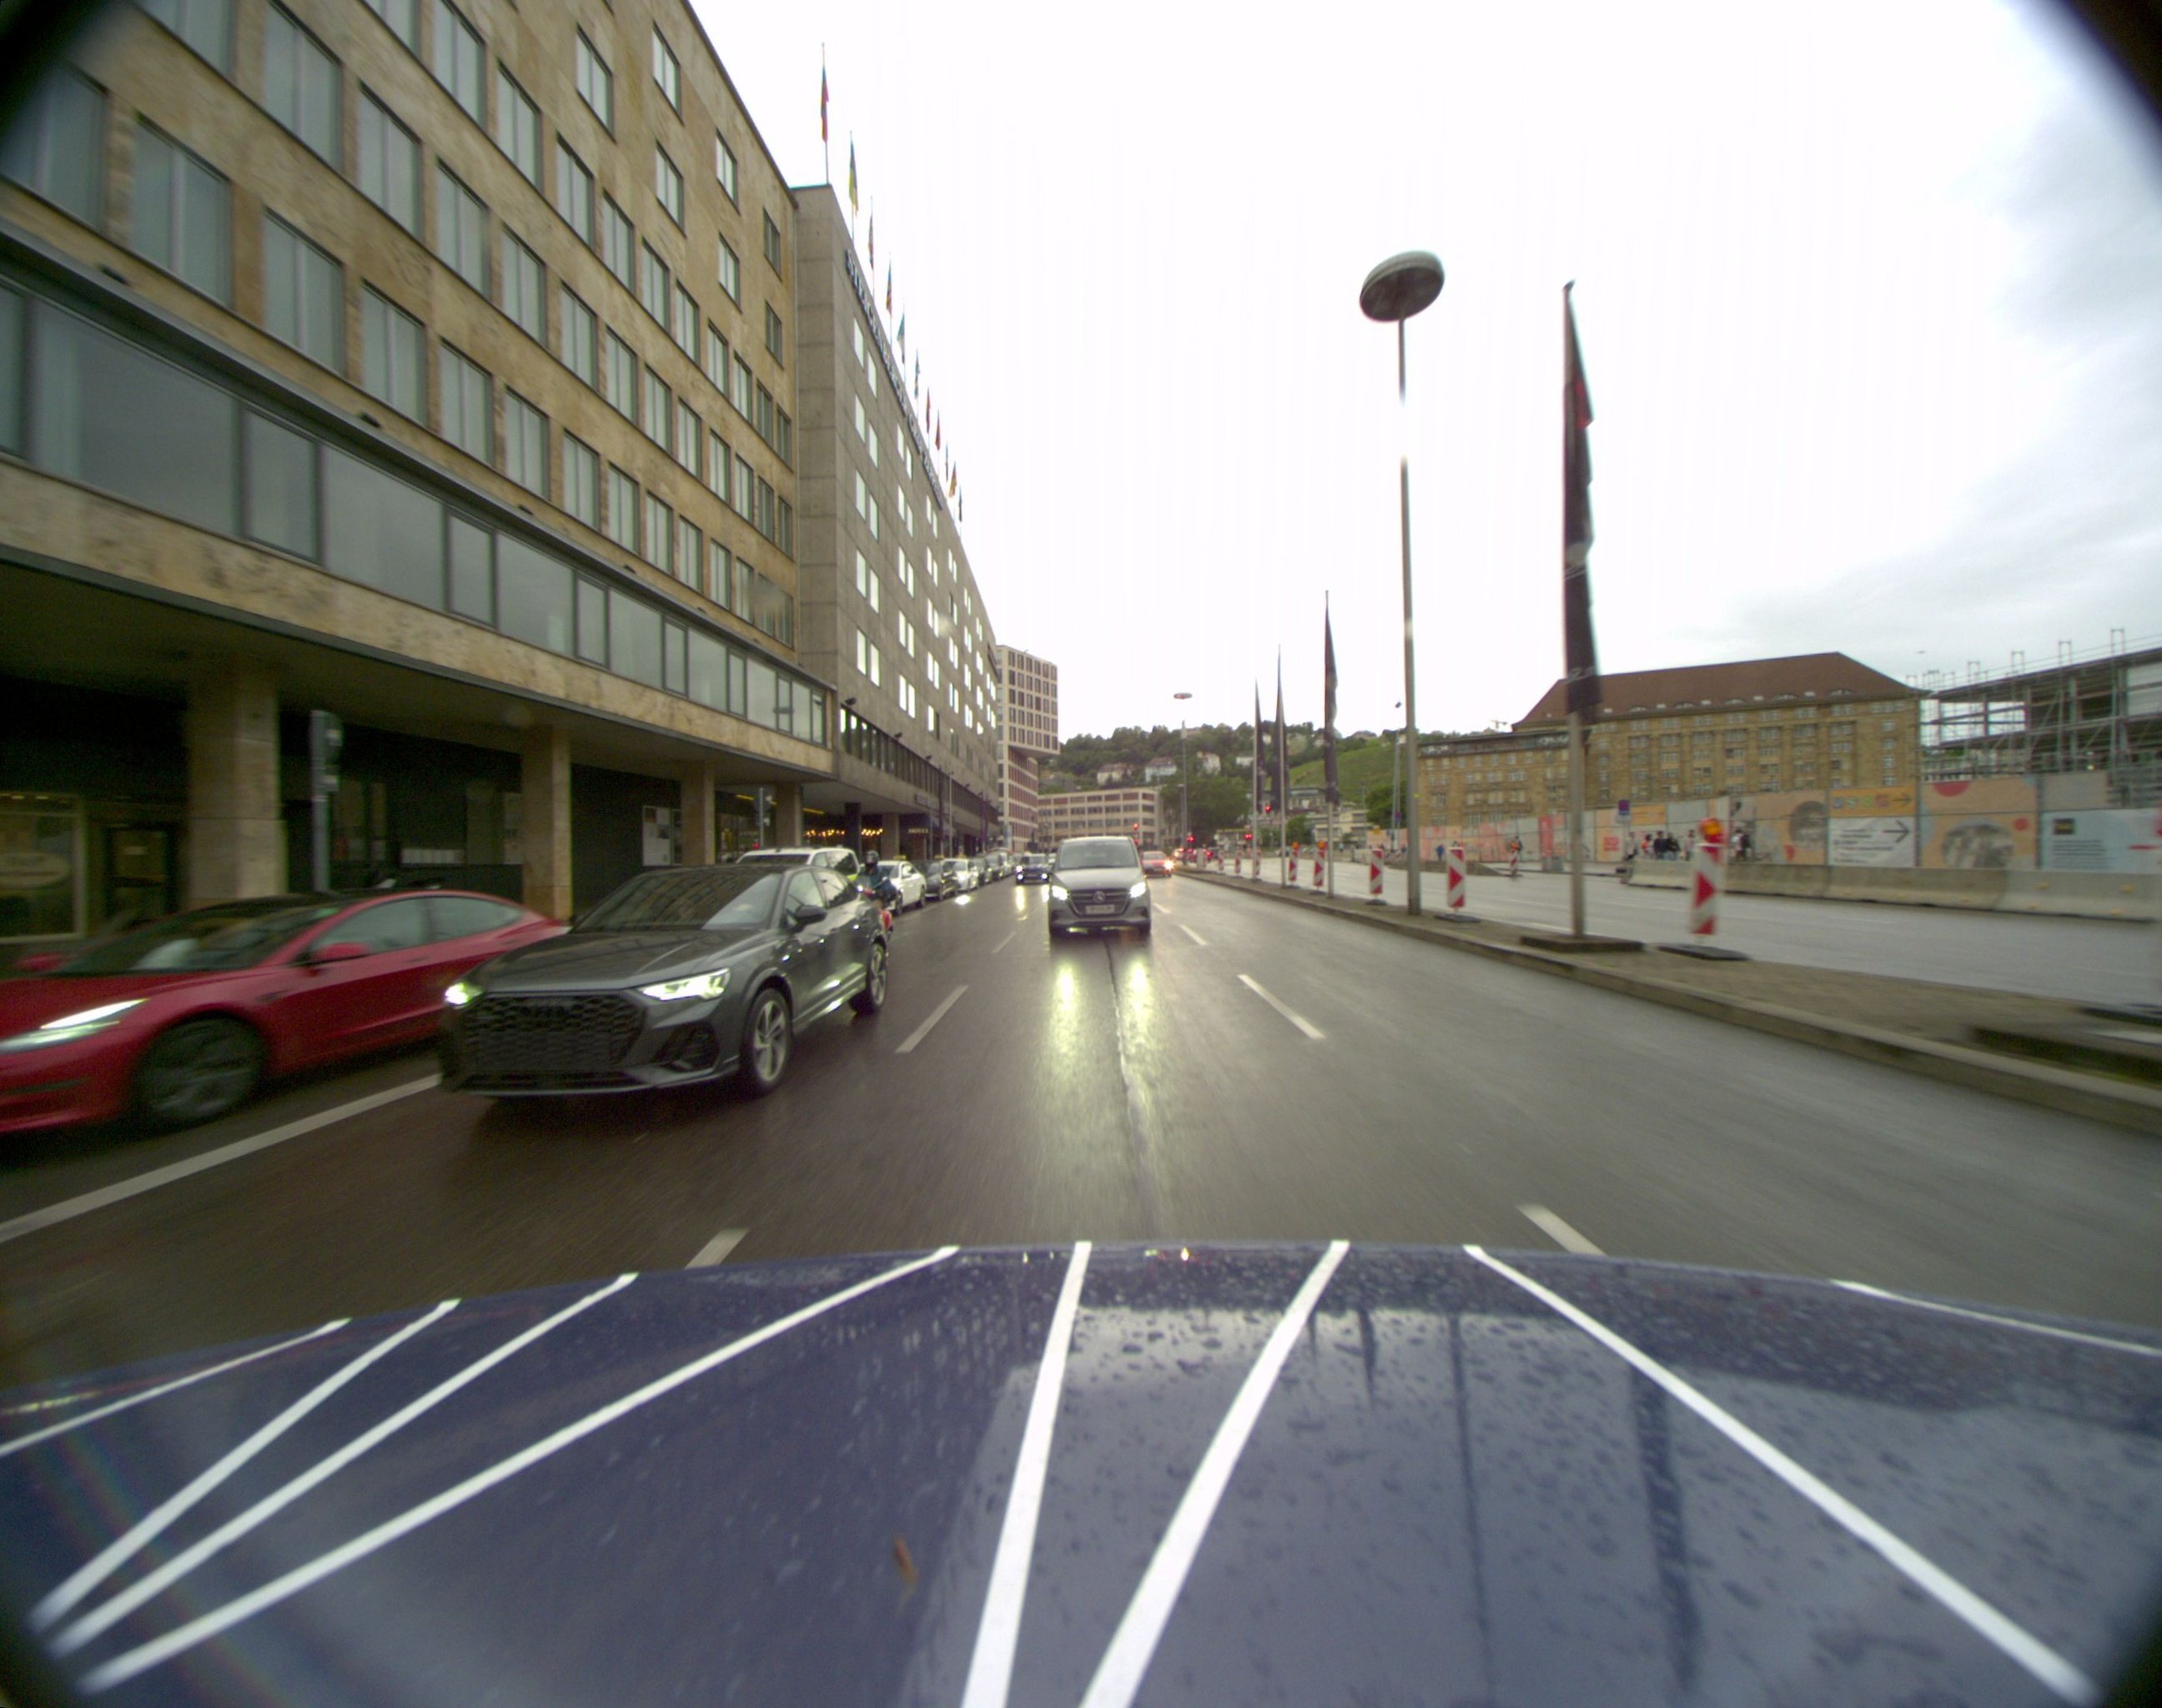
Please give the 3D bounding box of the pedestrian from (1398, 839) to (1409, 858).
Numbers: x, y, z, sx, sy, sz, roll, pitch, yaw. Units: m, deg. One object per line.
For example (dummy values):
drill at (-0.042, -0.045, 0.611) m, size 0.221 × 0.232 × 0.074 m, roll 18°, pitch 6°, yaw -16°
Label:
pedestrian at (27.799, -0.510, 65.489) m, size 0.715 × 1.607 × 0.544 m, roll -3°, pitch 2°, yaw 1°

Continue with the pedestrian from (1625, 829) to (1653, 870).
pedestrian at (25.237, -0.198, 34.377) m, size 0.664 × 1.825 × 0.720 m, roll -3°, pitch 2°, yaw 1°

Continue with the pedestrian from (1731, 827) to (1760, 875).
pedestrian at (25.793, -0.119, 29.502) m, size 0.482 × 1.825 × 0.717 m, roll -3°, pitch 2°, yaw 1°

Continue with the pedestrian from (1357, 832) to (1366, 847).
pedestrian at (30.612, -1.605, 82.963) m, size 0.715 × 1.607 × 0.544 m, roll -2°, pitch 2°, yaw 6°

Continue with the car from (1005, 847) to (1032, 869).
car at (-5.082, 0.311, 61.905) m, size 1.731 × 1.604 × 4.001 m, roll -3°, pitch 1°, yaw 1°

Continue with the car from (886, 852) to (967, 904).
car at (-5.644, 0.801, 28.317) m, size 1.879 × 1.628 × 4.813 m, roll -3°, pitch 1°, yaw 1°

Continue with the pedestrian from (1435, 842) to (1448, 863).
pedestrian at (28.333, -0.133, 59.681) m, size 0.715 × 1.607 × 0.544 m, roll -3°, pitch 2°, yaw 1°

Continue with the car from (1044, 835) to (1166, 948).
car at (0.477, 0.589, 15.509) m, size 1.998 × 1.849 × 5.159 m, roll -3°, pitch 1°, yaw 1°

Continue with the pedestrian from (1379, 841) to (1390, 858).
pedestrian at (28.765, -0.455, 71.993) m, size 0.715 × 1.607 × 0.544 m, roll -3°, pitch 2°, yaw 1°

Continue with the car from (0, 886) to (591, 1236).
car at (-6.300, 1.162, 5.934) m, size 1.879 × 1.477 × 4.525 m, roll -3°, pitch 1°, yaw 1°

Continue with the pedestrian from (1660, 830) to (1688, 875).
pedestrian at (24.768, -0.070, 31.743) m, size 0.714 × 1.825 × 0.718 m, roll -2°, pitch 2°, yaw 20°

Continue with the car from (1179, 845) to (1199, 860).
car at (13.075, -0.241, 92.501) m, size 1.785 × 1.684 × 3.915 m, roll -3°, pitch 1°, yaw 0°

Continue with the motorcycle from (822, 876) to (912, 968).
motorcycle at (-3.544, 1.090, 12.797) m, size 0.848 × 1.299 × 1.965 m, roll -3°, pitch 1°, yaw 1°

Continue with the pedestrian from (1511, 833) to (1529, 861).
pedestrian at (25.971, -0.436, 44.911) m, size 0.715 × 1.607 × 0.544 m, roll -3°, pitch 2°, yaw 1°

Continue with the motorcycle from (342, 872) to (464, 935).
motorcycle at (-15.134, 1.078, 17.052) m, size 0.568 × 1.211 × 2.105 m, roll -2°, pitch 1°, yaw 9°

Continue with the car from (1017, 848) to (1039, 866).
car at (-5.002, 0.253, 72.224) m, size 1.731 × 1.604 × 4.001 m, roll -3°, pitch 1°, yaw 1°

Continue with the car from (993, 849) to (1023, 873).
car at (-5.389, 0.518, 56.731) m, size 1.731 × 1.604 × 4.001 m, roll -3°, pitch 1°, yaw 1°

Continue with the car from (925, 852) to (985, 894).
car at (-5.549, 0.781, 34.044) m, size 1.731 × 1.583 × 4.813 m, roll -3°, pitch 1°, yaw 1°

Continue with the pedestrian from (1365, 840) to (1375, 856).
pedestrian at (28.993, -0.618, 76.235) m, size 0.715 × 1.607 × 0.544 m, roll -3°, pitch 2°, yaw 1°

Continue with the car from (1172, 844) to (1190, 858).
car at (13.018, -0.358, 99.145) m, size 1.785 × 1.684 × 3.915 m, roll -3°, pitch 1°, yaw 0°

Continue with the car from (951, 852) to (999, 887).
car at (-5.489, 0.750, 39.858) m, size 1.731 × 1.583 × 4.813 m, roll -3°, pitch 1°, yaw 1°

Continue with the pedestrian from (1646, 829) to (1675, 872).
pedestrian at (23.790, -0.159, 31.198) m, size 0.714 × 1.723 × 0.718 m, roll -2°, pitch 2°, yaw 20°

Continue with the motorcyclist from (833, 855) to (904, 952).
motorcyclist at (-3.543, 0.802, 12.746) m, size 0.861 × 1.519 × 0.844 m, roll -3°, pitch 2°, yaw 1°

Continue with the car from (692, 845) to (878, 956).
car at (-6.022, 0.814, 16.235) m, size 1.879 × 1.909 × 4.935 m, roll -3°, pitch 1°, yaw 1°

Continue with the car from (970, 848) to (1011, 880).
car at (-5.431, 0.562, 46.027) m, size 1.731 × 1.733 × 4.813 m, roll -3°, pitch 1°, yaw 1°

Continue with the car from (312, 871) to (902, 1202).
car at (-3.006, 1.020, 6.162) m, size 1.883 × 1.493 × 4.342 m, roll -3°, pitch 1°, yaw 2°

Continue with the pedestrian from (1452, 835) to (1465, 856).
pedestrian at (29.095, -0.664, 58.615) m, size 0.715 × 1.607 × 0.544 m, roll -3°, pitch 2°, yaw 1°

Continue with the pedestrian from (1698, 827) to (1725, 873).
pedestrian at (25.220, -0.169, 30.378) m, size 0.661 × 1.825 × 0.556 m, roll -2°, pitch 2°, yaw 22°

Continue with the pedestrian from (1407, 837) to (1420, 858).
pedestrian at (26.691, -0.509, 60.976) m, size 0.715 × 1.607 × 0.544 m, roll -3°, pitch 2°, yaw 1°

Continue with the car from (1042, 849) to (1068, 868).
car at (-2.362, 0.410, 70.346) m, size 2.089 × 1.540 × 4.587 m, roll -3°, pitch 1°, yaw 1°

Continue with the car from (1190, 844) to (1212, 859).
car at (13.422, -0.289, 85.194) m, size 1.785 × 1.684 × 3.916 m, roll -1°, pitch 0°, yaw 1°

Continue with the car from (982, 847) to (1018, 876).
car at (-5.414, 0.467, 51.223) m, size 1.731 × 1.733 × 4.813 m, roll -3°, pitch 1°, yaw 1°

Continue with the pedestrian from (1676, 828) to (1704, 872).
pedestrian at (24.561, -0.149, 30.643) m, size 0.714 × 1.734 × 0.564 m, roll -2°, pitch 2°, yaw 22°

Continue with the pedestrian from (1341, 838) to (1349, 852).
pedestrian at (32.834, -1.123, 94.528) m, size 0.715 × 1.607 × 0.544 m, roll -2°, pitch 2°, yaw 6°

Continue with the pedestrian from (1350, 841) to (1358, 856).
pedestrian at (29.851, -0.595, 83.035) m, size 0.715 × 1.607 × 0.544 m, roll -2°, pitch 2°, yaw 6°

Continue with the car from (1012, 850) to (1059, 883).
car at (-2.353, 0.616, 40.586) m, size 2.089 × 1.540 × 4.587 m, roll -3°, pitch 1°, yaw 1°

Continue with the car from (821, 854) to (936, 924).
car at (-5.726, 0.914, 22.235) m, size 1.879 × 1.628 × 5.010 m, roll -3°, pitch 1°, yaw 1°
